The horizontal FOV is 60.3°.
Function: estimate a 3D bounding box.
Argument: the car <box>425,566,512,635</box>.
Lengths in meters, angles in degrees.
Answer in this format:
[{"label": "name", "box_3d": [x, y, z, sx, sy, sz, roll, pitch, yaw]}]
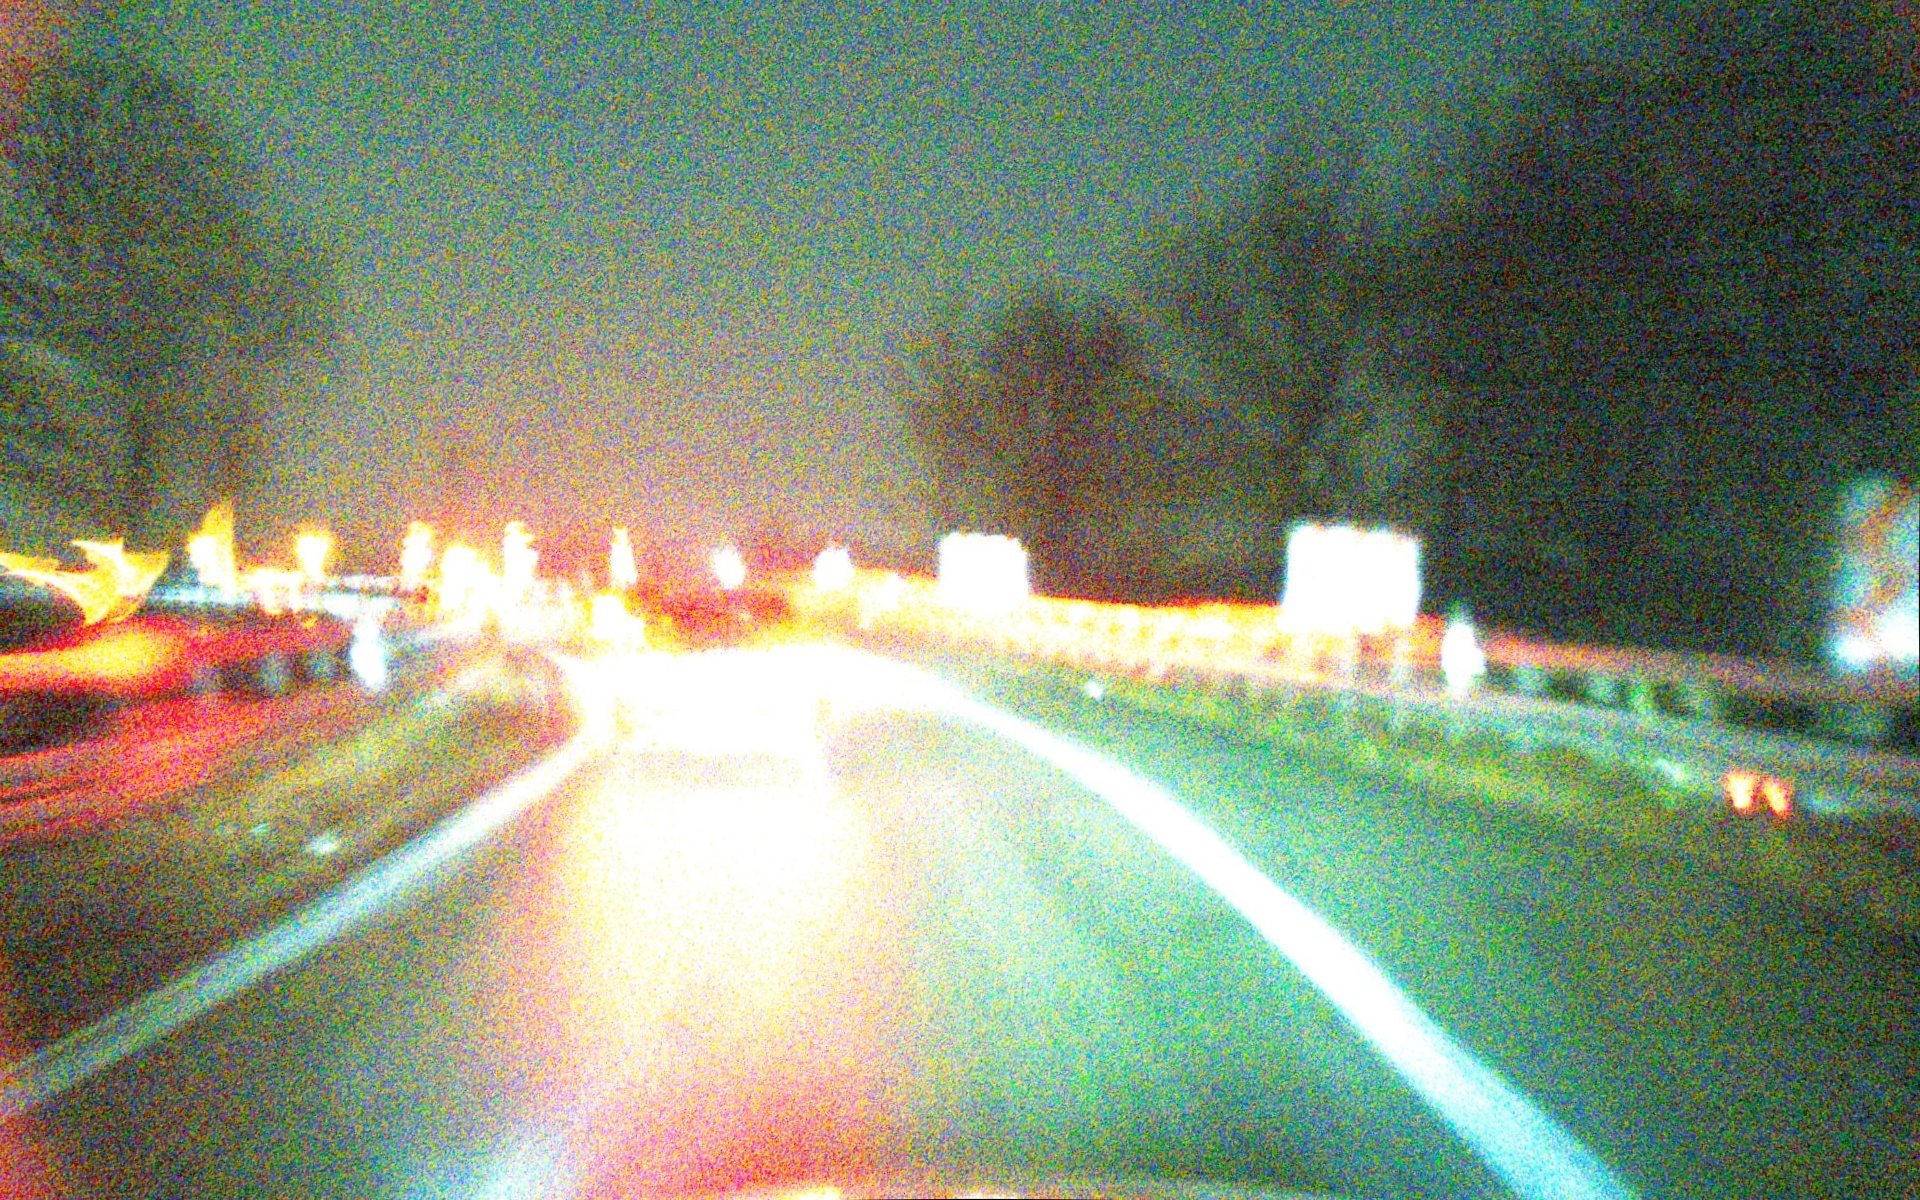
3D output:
[{"label": "car", "box_3d": [-15.476, -0.023, 51.986, 1.874, 2.076, 4.008, 0, 1, -28]}]

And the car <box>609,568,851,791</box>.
[{"label": "car", "box_3d": [-2.045, 0.568, 14.720, 1.826, 1.676, 4.061, -1, 1, -8]}]

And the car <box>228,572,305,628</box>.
[{"label": "car", "box_3d": [-26.289, -0.047, 62.653, 1.880, 2.032, 3.995, -1, 1, -35]}]

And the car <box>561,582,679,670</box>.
[{"label": "car", "box_3d": [-7.256, 0.501, 34.990, 1.868, 1.750, 4.021, 0, 0, -20]}]
